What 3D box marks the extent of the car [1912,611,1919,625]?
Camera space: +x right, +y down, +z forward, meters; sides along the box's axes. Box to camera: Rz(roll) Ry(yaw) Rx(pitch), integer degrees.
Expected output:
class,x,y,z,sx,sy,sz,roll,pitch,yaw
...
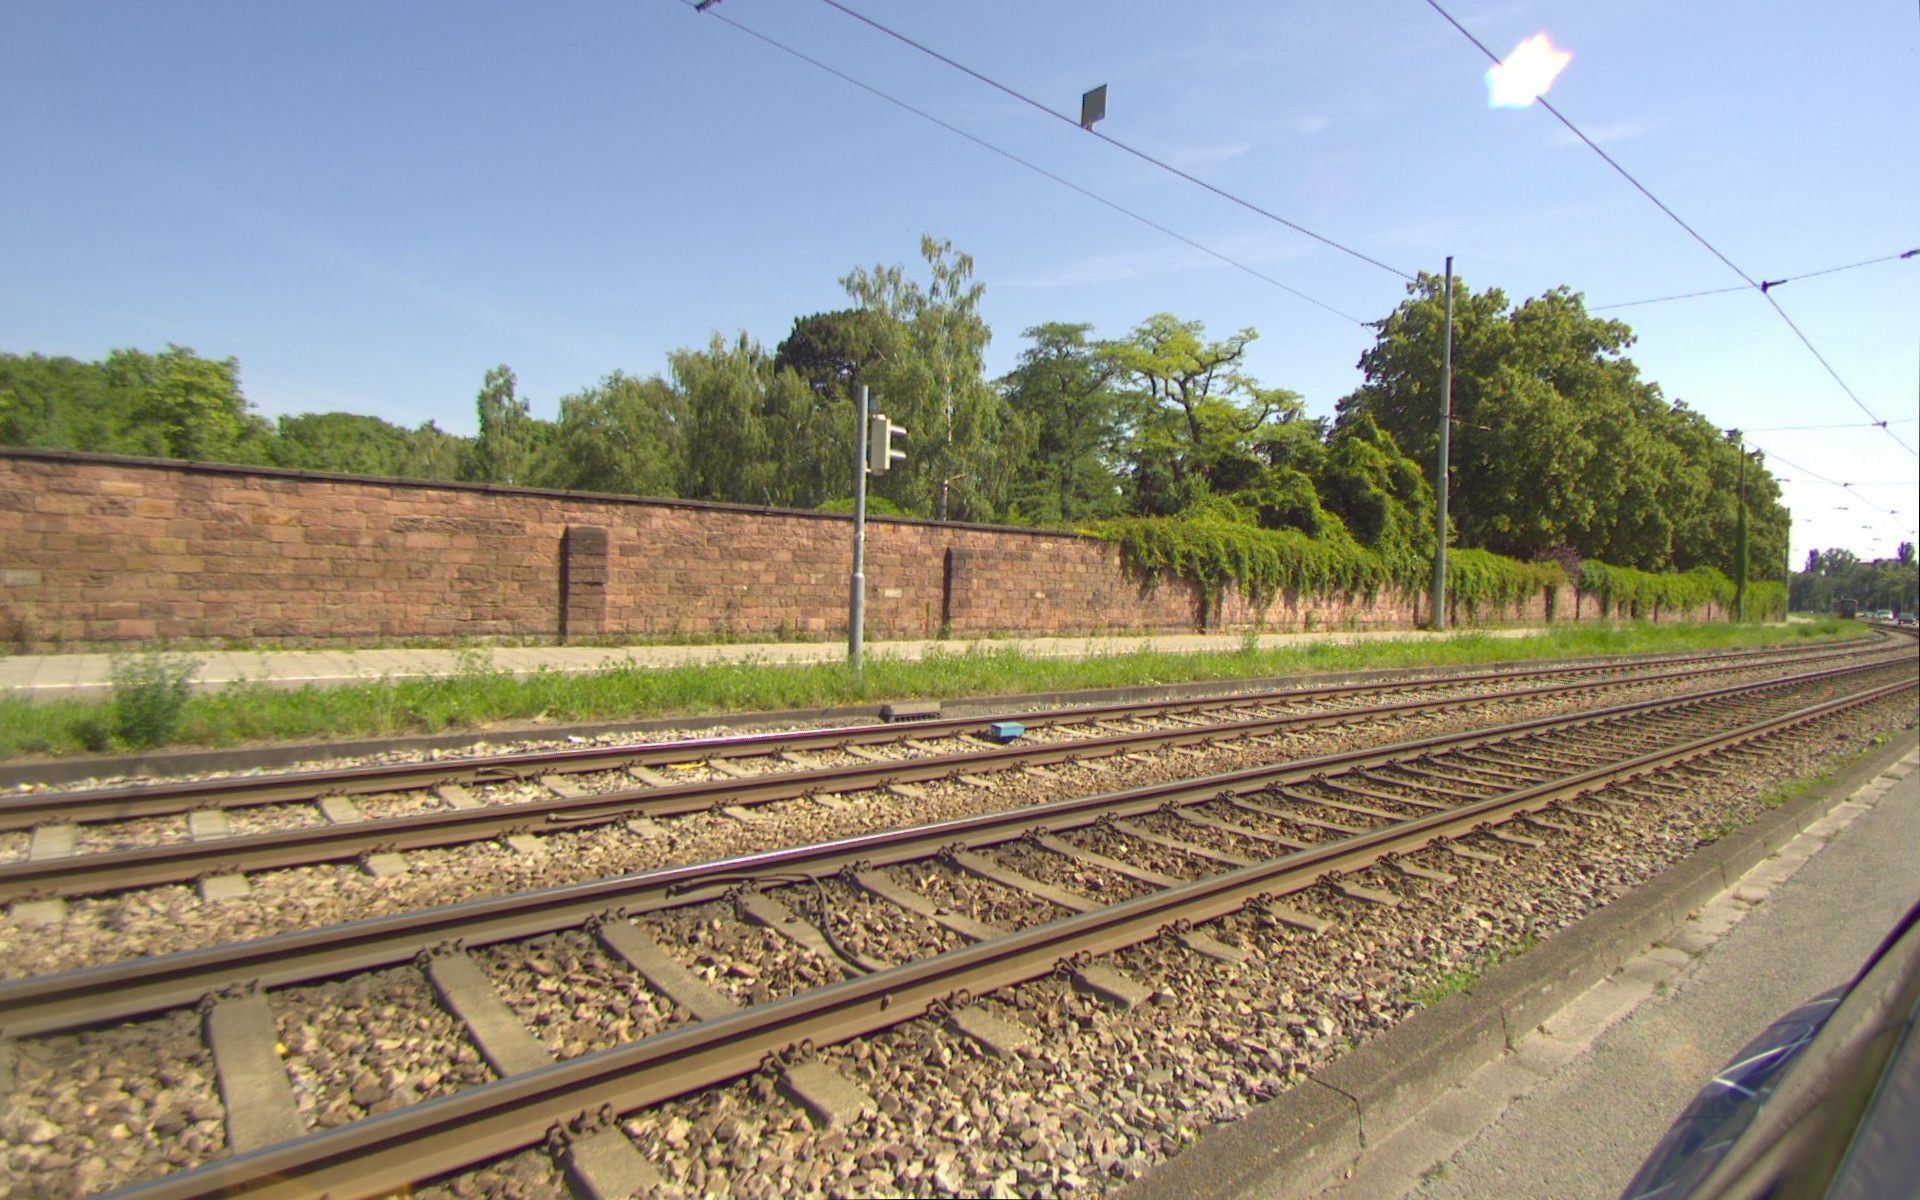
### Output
class,x,y,z,sx,sy,sz,roll,pitch,yaw
car,128.087,2.363,134.664,3.933,1.738,1.851,0,0,-43

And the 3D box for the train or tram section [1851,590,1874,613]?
class,x,y,z,sx,sy,sz,roll,pitch,yaw
train or tram section,158.475,0.243,177.562,2.713,3.785,18.585,1,1,43
